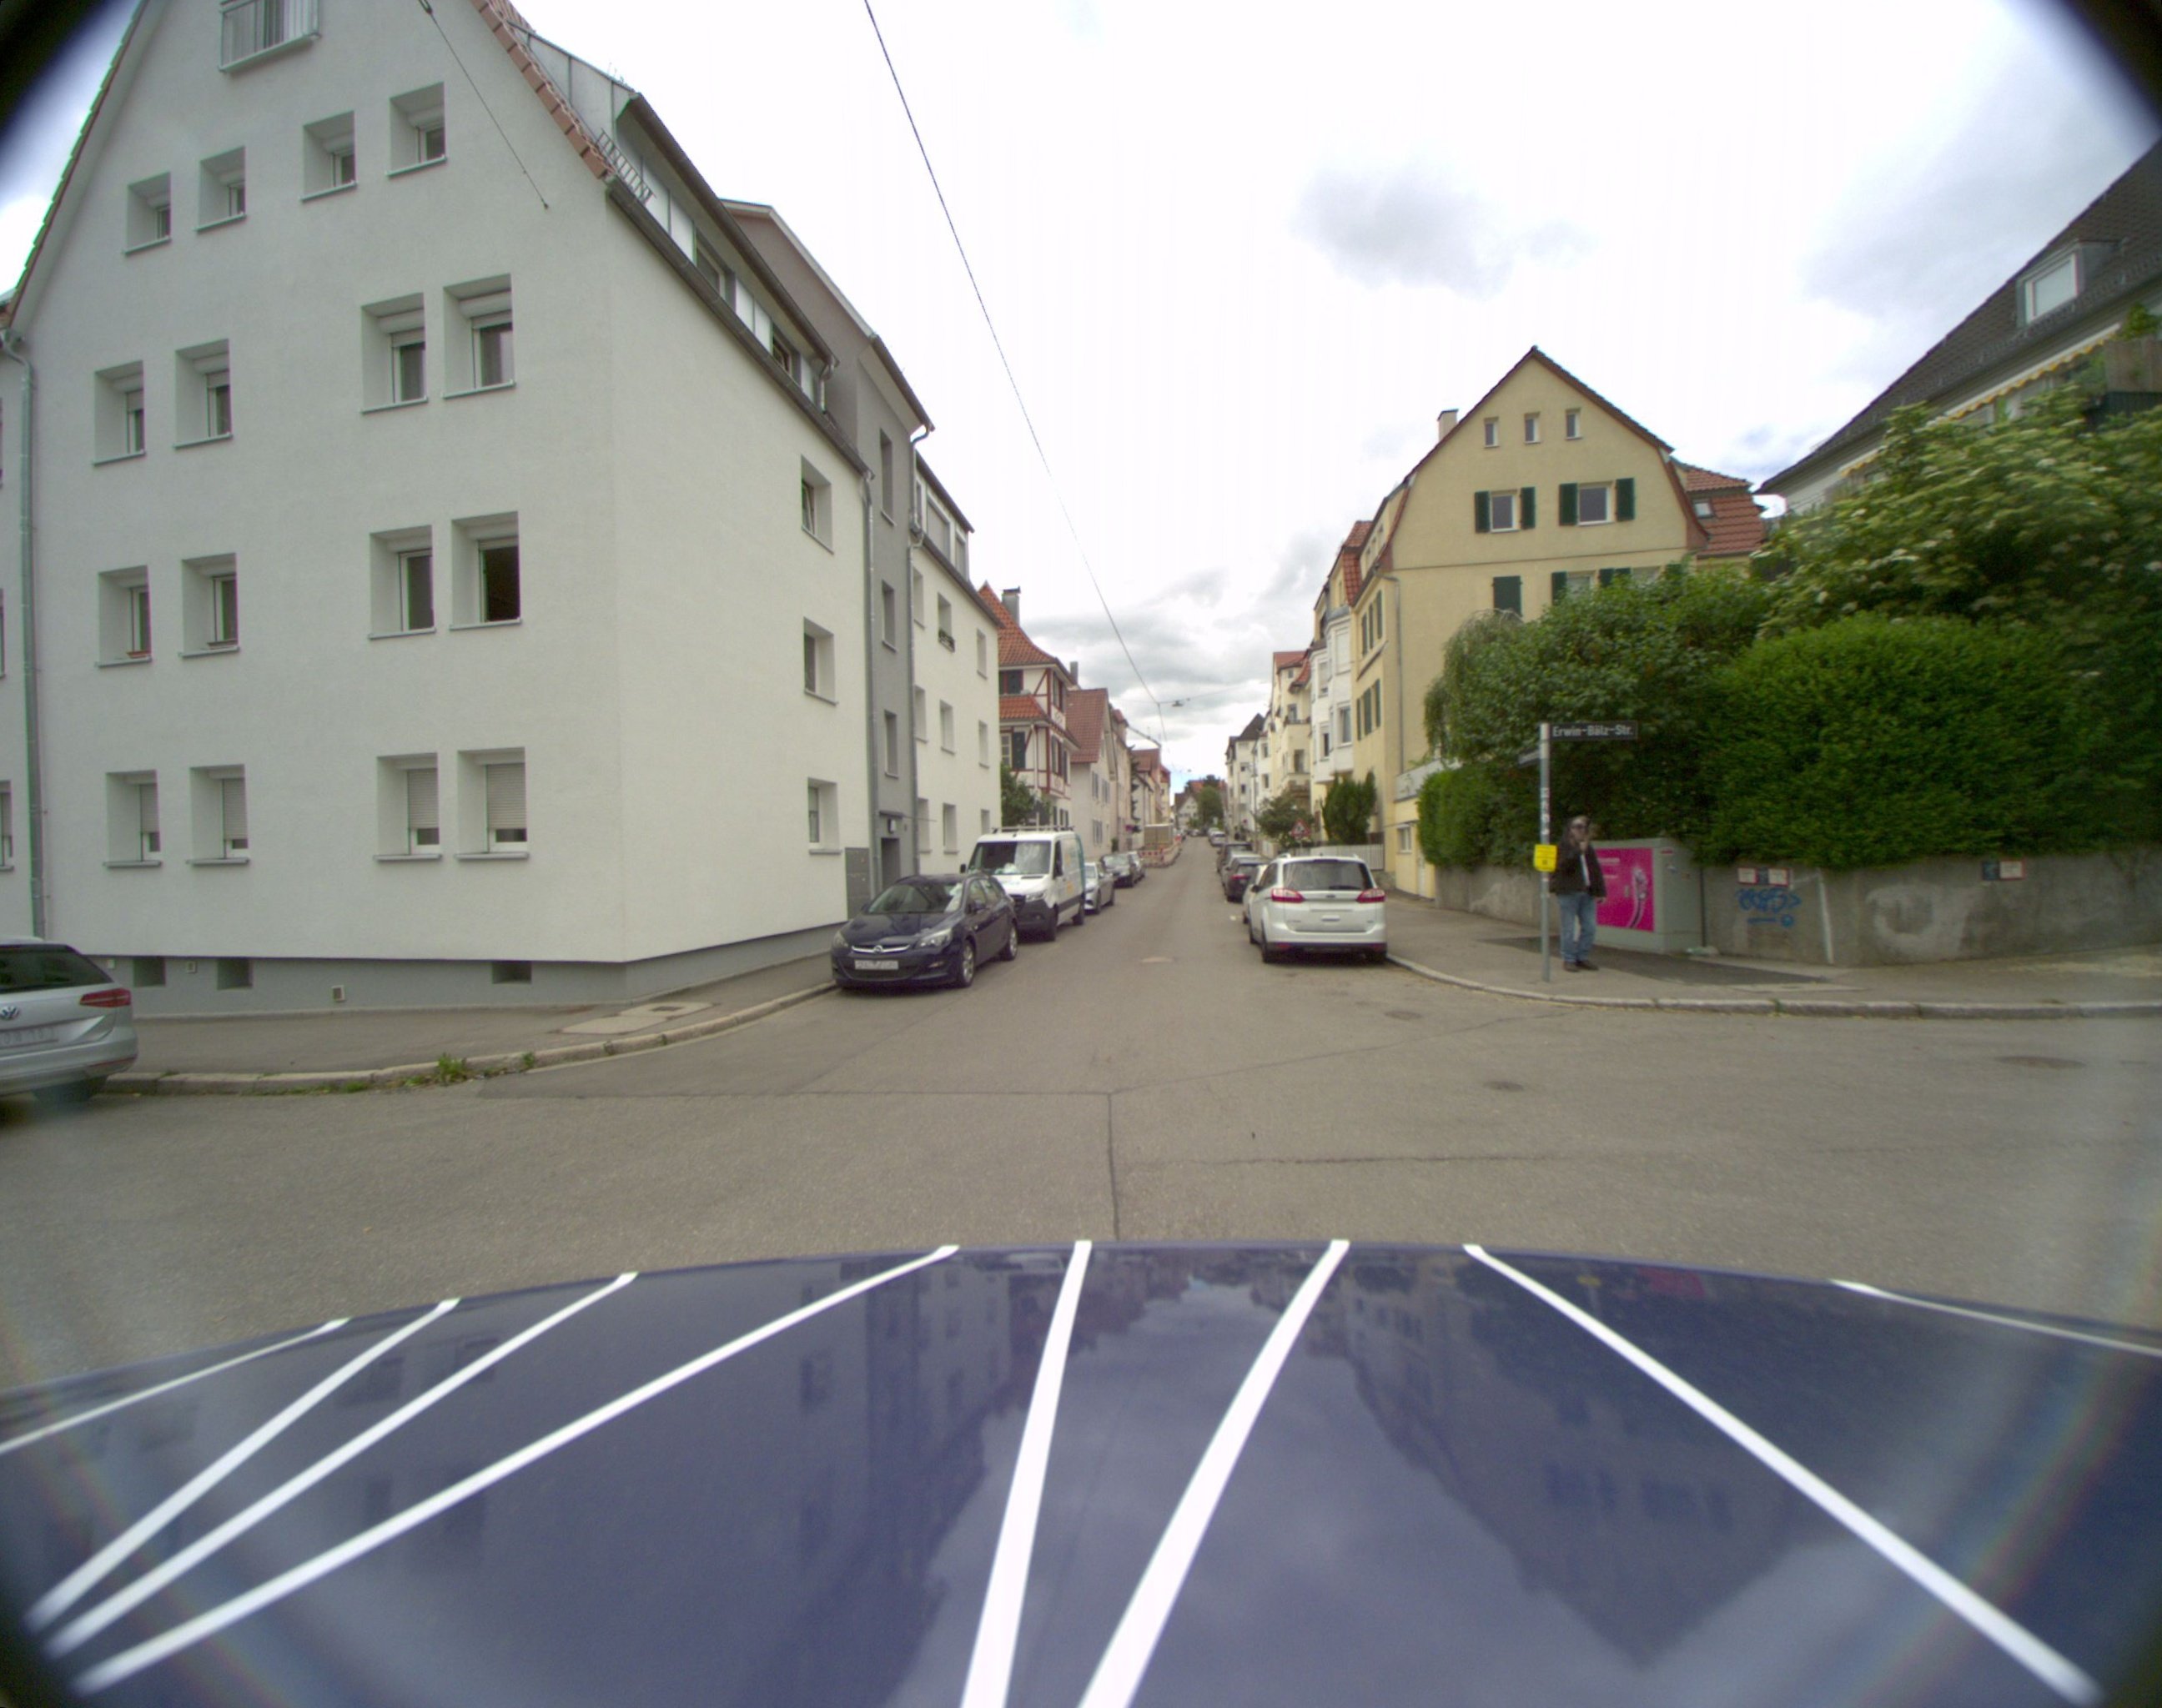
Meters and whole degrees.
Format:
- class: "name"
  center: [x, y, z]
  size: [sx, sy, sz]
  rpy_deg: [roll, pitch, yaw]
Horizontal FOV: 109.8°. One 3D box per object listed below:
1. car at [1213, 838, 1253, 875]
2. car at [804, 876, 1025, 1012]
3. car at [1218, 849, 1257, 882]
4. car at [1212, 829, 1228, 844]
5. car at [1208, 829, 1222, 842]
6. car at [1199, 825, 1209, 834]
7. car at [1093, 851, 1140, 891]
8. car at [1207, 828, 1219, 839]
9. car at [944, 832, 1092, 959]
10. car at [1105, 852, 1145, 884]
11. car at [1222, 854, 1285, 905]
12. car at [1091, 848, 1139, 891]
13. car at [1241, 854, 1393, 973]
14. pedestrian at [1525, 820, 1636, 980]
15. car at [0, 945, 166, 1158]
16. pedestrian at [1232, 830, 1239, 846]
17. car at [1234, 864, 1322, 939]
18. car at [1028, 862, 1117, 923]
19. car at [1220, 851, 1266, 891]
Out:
- class: "car"
  center: [8.174, 0.095, 41.064]
  size: [1.752, 1.787, 4.150]
  rpy_deg: [-1, 2, 7]
- class: "car"
  center: [-2.185, 1.159, 11.313]
  size: [1.822, 1.477, 4.289]
  rpy_deg: [-2, 0, 7]
- class: "car"
  center: [7.396, 0.497, 36.197]
  size: [1.642, 1.391, 3.704]
  rpy_deg: [0, 2, 9]
- class: "car"
  center: [15.498, -1.956, 84.673]
  size: [1.662, 1.558, 4.001]
  rpy_deg: [-1, 3, 10]
- class: "car"
  center: [18.072, -2.496, 102.397]
  size: [1.781, 1.558, 4.001]
  rpy_deg: [-1, 3, 10]
- class: "car"
  center: [23.183, -4.646, 143.417]
  size: [1.781, 1.558, 4.001]
  rpy_deg: [-2, 3, 10]
- class: "car"
  center: [1.656, 0.722, 34.330]
  size: [1.608, 1.481, 4.025]
  rpy_deg: [-3, 1, 9]
- class: "car"
  center: [20.268, -3.185, 116.530]
  size: [1.781, 1.558, 4.001]
  rpy_deg: [-1, 3, 10]
- class: "car"
  center: [-1.190, 0.761, 17.228]
  size: [1.997, 2.408, 5.296]
  rpy_deg: [-2, 1, 10]
- class: "car"
  center: [2.335, 0.668, 39.061]
  size: [1.628, 1.385, 4.238]
  rpy_deg: [-3, 1, 8]
- class: "car"
  center: [5.858, 0.810, 26.197]
  size: [1.806, 1.472, 4.330]
  rpy_deg: [-2, 1, 9]
- class: "car"
  center: [1.587, 0.669, 34.100]
  size: [1.780, 1.710, 4.002]
  rpy_deg: [-3, -1, 7]
- class: "car"
  center: [3.737, 0.863, 12.748]
  size: [1.807, 1.649, 4.154]
  rpy_deg: [-1, -1, 9]
- class: "pedestrian"
  center: [5.817, 0.523, 8.895]
  size: [0.643, 1.749, 0.823]
  rpy_deg: [-4, -1, 1]
- class: "car"
  center: [-9.933, 1.589, 5.839]
  size: [4.353, 1.441, 1.765]
  rpy_deg: [-3, -1, 10]
- class: "pedestrian"
  center: [15.959, -1.678, 78.316]
  size: [0.616, 1.647, 0.813]
  rpy_deg: [-3, 2, 10]
- class: "car"
  center: [4.484, 1.010, 17.725]
  size: [1.610, 1.445, 3.616]
  rpy_deg: [0, 1, 9]
- class: "car"
  center: [-0.136, 1.095, 23.013]
  size: [1.828, 1.436, 4.385]
  rpy_deg: [-3, 1, 10]
- class: "car"
  center: [6.653, 0.667, 31.524]
  size: [1.642, 1.420, 4.125]
  rpy_deg: [-1, 2, 9]
